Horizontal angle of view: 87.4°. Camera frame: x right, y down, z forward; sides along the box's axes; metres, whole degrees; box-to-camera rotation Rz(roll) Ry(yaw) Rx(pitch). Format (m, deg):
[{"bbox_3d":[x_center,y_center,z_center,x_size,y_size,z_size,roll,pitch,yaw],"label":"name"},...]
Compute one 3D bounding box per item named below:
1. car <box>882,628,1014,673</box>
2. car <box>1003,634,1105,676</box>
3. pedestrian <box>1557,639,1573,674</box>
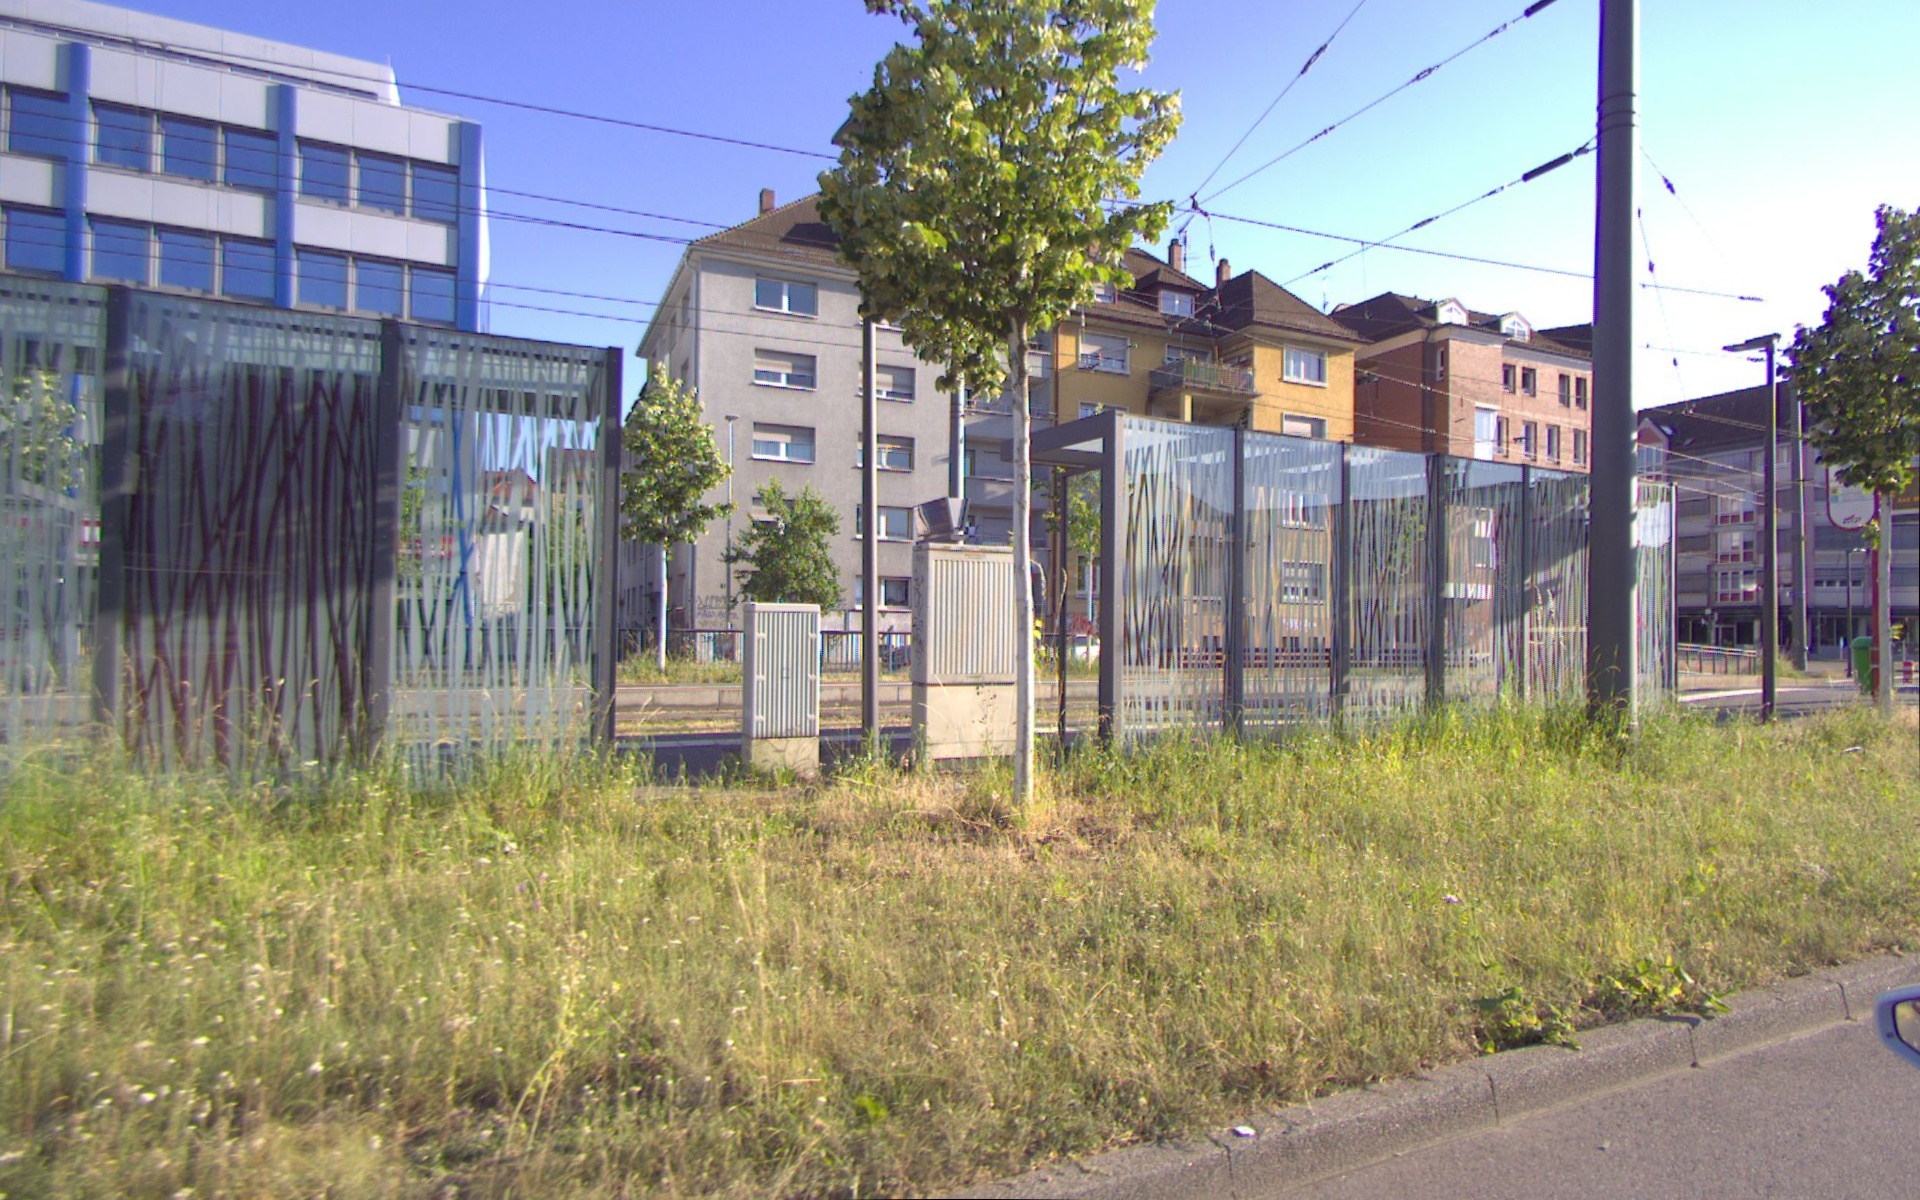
[{"bbox_3d":[-0.429,1.790,36.259,4.373,1.528,1.987,1,-2,-26],"label":"car"},{"bbox_3d":[3.579,2.076,38.396,3.506,1.505,1.741,1,-2,-26],"label":"car"},{"bbox_3d":[32.558,3.028,54.040,0.532,1.831,0.502,0,-1,3],"label":"pedestrian"}]
